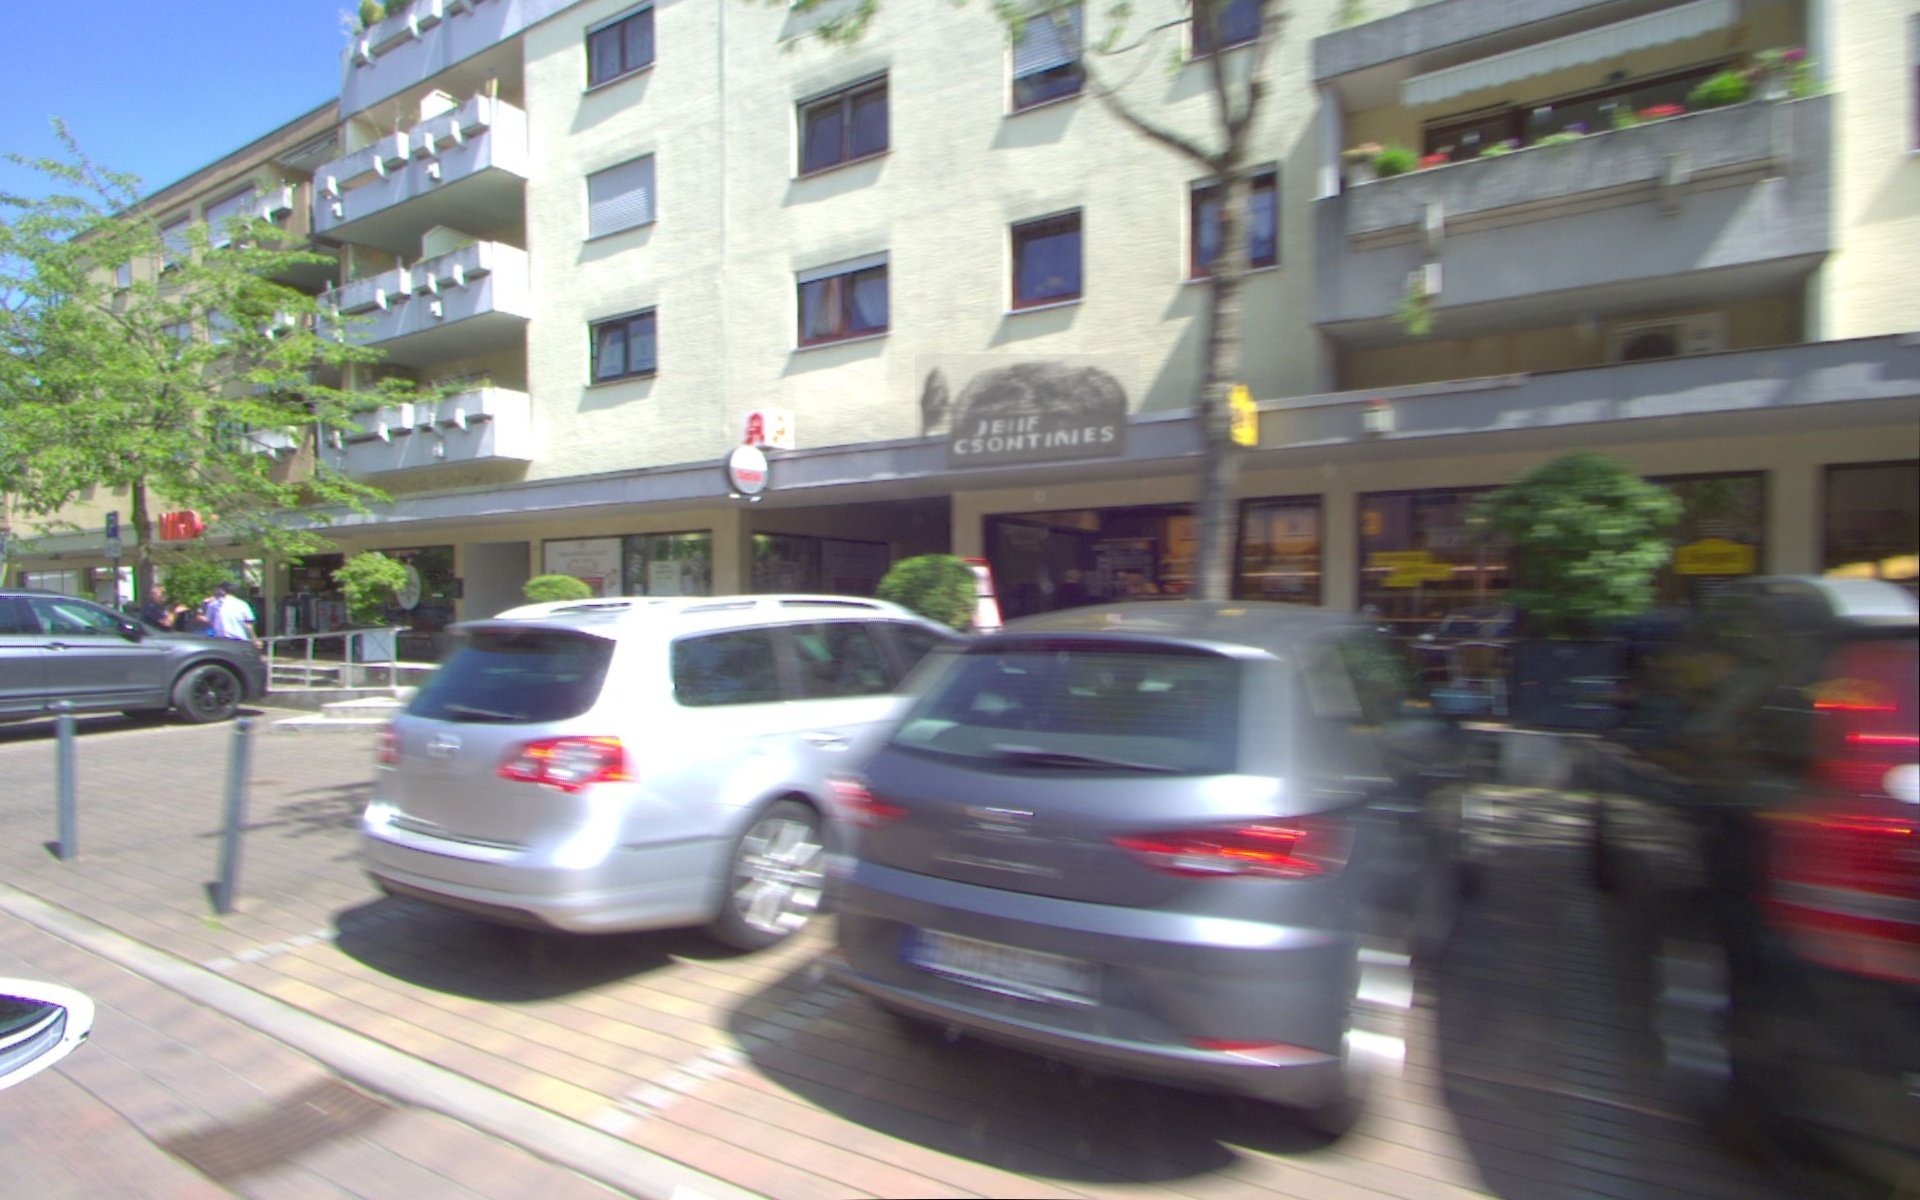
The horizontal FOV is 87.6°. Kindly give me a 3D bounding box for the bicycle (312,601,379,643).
[{"bbox_3d":[-14.136,0.510,23.020,1.703,0.937,0.625,-1,0,33],"label":"bicycle"}]

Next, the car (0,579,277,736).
[{"bbox_3d":[-10.415,0.596,11.277,1.535,1.637,4.237,0,1,30],"label":"car"}]

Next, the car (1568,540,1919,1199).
[{"bbox_3d":[3.305,0.665,3.326,1.915,1.561,4.178,0,0,28],"label":"car"}]

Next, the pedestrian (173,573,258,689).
[{"bbox_3d":[-12.100,0.483,16.296,0.793,1.811,0.837,1,1,25],"label":"pedestrian"}]

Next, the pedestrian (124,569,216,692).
[{"bbox_3d":[-12.034,0.444,15.267,0.793,1.811,0.837,1,1,25],"label":"pedestrian"}]

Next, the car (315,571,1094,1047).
[{"bbox_3d":[-0.935,0.699,5.571,1.734,1.595,4.144,1,1,33],"label":"car"}]

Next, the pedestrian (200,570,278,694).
[{"bbox_3d":[-10.899,0.460,15.142,0.798,1.811,0.832,2,1,44],"label":"pedestrian"}]

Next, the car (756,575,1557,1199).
[{"bbox_3d":[1.227,0.701,4.068,1.693,1.509,3.924,0,0,36],"label":"car"}]

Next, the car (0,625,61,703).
[{"bbox_3d":[-15.325,0.964,14.281,1.254,1.156,3.520,0,0,27],"label":"car"}]
